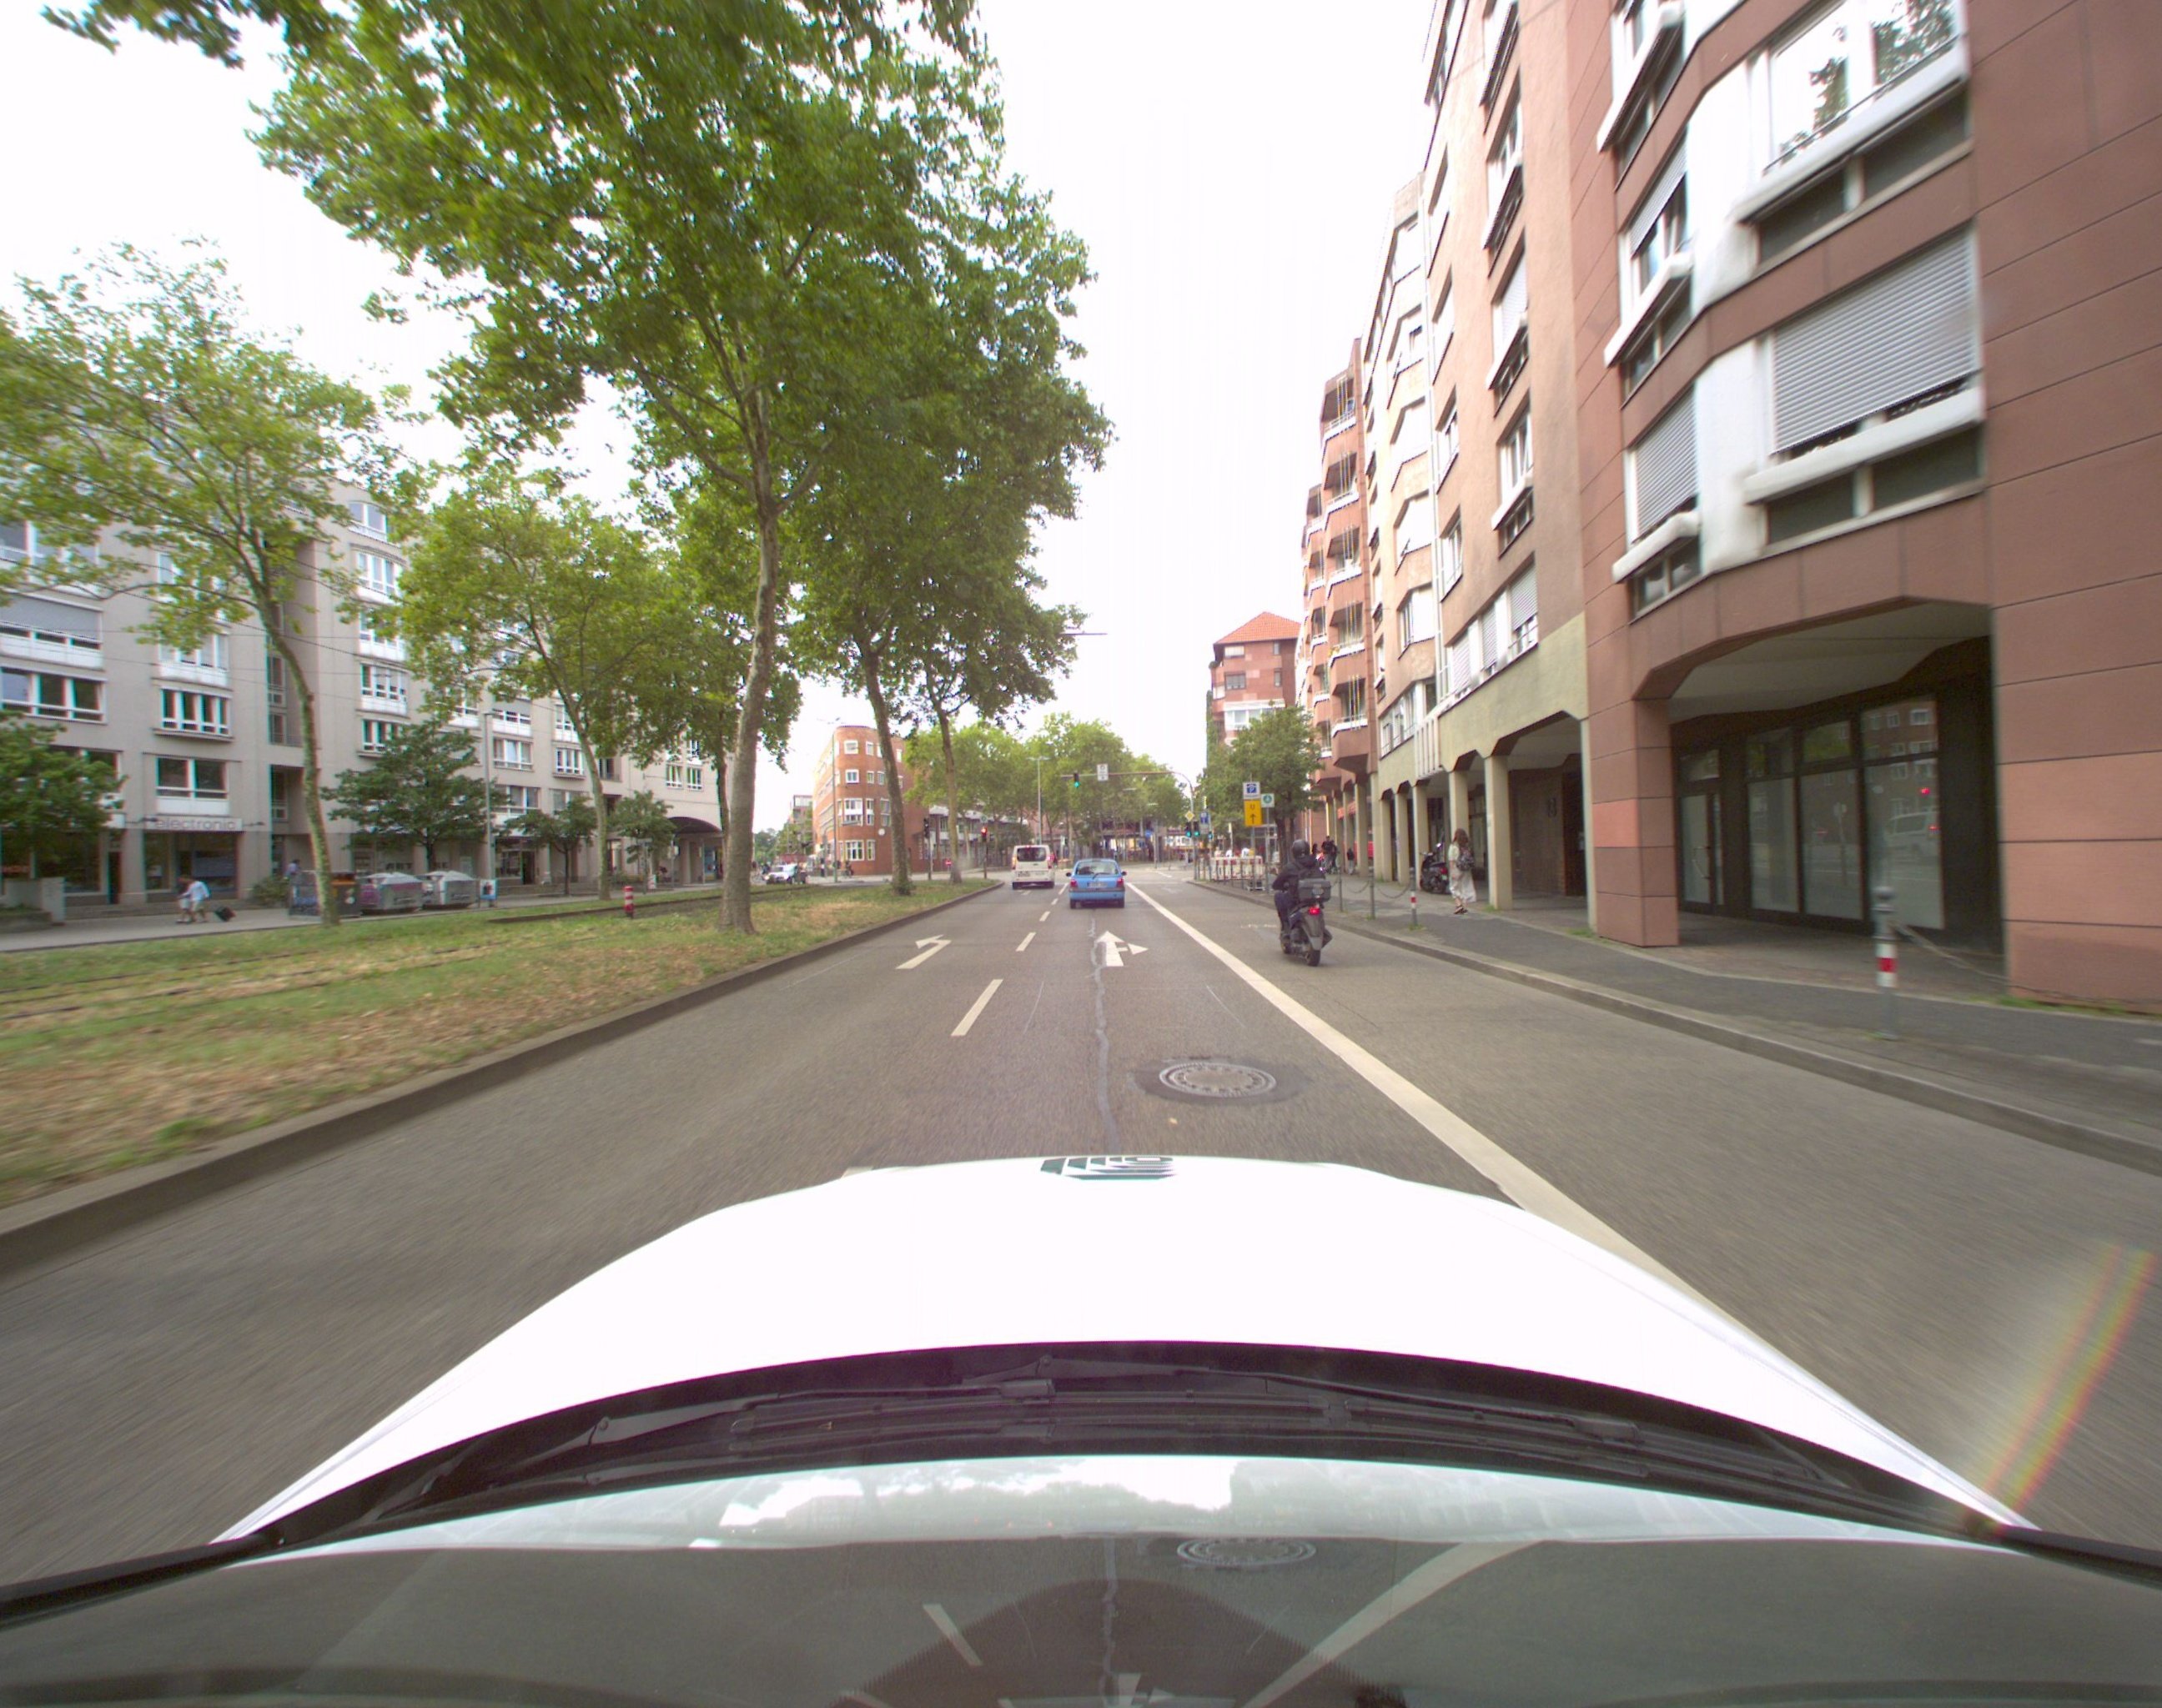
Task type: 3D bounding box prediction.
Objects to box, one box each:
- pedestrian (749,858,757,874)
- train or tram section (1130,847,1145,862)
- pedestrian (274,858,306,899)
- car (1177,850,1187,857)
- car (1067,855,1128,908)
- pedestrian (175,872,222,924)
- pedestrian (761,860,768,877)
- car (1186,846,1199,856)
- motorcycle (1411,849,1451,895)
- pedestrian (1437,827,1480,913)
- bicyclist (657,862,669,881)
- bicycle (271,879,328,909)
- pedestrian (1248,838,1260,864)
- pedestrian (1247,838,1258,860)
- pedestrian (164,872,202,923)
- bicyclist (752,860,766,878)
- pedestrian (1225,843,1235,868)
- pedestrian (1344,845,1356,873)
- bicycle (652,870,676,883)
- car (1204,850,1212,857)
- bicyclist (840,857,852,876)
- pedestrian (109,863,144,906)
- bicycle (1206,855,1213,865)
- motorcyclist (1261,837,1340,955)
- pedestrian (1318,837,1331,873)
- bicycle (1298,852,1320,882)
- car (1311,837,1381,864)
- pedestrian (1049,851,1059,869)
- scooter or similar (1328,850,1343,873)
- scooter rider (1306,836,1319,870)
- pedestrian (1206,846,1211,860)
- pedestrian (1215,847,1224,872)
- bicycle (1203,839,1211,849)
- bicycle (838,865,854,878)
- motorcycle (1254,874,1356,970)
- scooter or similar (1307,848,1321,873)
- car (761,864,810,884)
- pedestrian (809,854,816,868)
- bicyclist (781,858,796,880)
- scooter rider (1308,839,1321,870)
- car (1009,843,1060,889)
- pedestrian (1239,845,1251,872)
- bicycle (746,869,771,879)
[{"bbox_3d":[-35.187,1.275,87.463,0.677,1.679,0.746,-2,0,-27],"label":"pedestrian"},{"bbox_3d":[13.121,0.134,188.836,2.374,3.254,8.845,-2,0,11],"label":"train or tram section"},{"bbox_3d":[-35.873,1.113,36.937,0.765,1.809,0.694,-2,0,10],"label":"pedestrian"},{"bbox_3d":[23.702,-0.124,190.646,1.873,1.624,4.014,-2,0,13],"label":"car"},{"bbox_3d":[0.486,0.760,24.291,1.635,1.386,3.844,-1,0,1],"label":"car"},{"bbox_3d":[-30.187,1.505,27.867,0.550,1.705,0.885,-2,0,5],"label":"pedestrian"},{"bbox_3d":[-38.431,1.763,98.868,0.793,1.963,0.799,-2,0,-24],"label":"pedestrian"},{"bbox_3d":[18.395,-0.545,133.891,1.687,1.601,4.014,-2,0,13],"label":"car"},{"bbox_3d":[9.815,0.482,22.903,0.612,1.156,1.910,-3,0,12],"label":"motorcycle"},{"bbox_3d":[7.485,0.312,16.190,0.540,1.650,0.827,-2,0,10],"label":"pedestrian"},{"bbox_3d":[-37.695,1.583,73.442,0.788,1.672,0.567,-2,0,-36],"label":"bicyclist"},{"bbox_3d":[-34.210,1.737,35.680,0.530,1.212,1.843,-2,0,8],"label":"bicycle"},{"bbox_3d":[11.651,-0.194,54.905,0.648,1.701,1.024,-2,0,8],"label":"pedestrian"},{"bbox_3d":[12.662,-0.363,60.095,0.672,1.538,0.949,-2,0,8],"label":"pedestrian"},{"bbox_3d":[-30.774,1.490,27.903,0.550,1.705,0.627,-2,0,5],"label":"pedestrian"},{"bbox_3d":[-29.144,1.343,73.678,1.039,1.562,0.576,-2,-1,-36],"label":"bicyclist"},{"bbox_3d":[9.919,0.086,54.230,0.514,1.616,0.852,-2,0,7],"label":"pedestrian"},{"bbox_3d":[13.088,0.254,39.665,0.483,1.324,0.487,-2,0,15],"label":"pedestrian"},{"bbox_3d":[-37.614,2.035,73.484,1.885,1.092,0.571,-2,0,-36],"label":"bicycle"},{"bbox_3d":[29.597,-0.123,189.587,1.687,1.601,4.014,-2,0,13],"label":"car"},{"bbox_3d":[-23.175,1.227,80.331,0.663,1.848,1.083,-3,0,5],"label":"bicyclist"},{"bbox_3d":[-38.614,1.227,32.951,0.633,1.672,0.661,-2,0,9],"label":"pedestrian"},{"bbox_3d":[13.134,0.577,83.288,0.614,1.008,1.738,-2,0,6],"label":"bicycle"},{"bbox_3d":[2.998,0.554,11.203,0.757,1.519,1.017,-2,-1,0],"label":"motorcyclist"},{"bbox_3d":[12.445,0.038,41.613,0.548,1.799,0.659,-2,0,12],"label":"pedestrian"},{"bbox_3d":[9.052,0.506,32.391,0.609,1.118,1.808,-2,0,8],"label":"bicycle"},{"bbox_3d":[19.869,-0.236,61.159,4.793,1.826,2.007,-2,-2,12],"label":"car"},{"bbox_3d":[-2.544,0.562,76.635,0.547,1.718,0.896,-2,0,27],"label":"pedestrian"},{"bbox_3d":[13.096,0.365,41.945,0.550,1.170,1.410,-2,0,10],"label":"scooter or similar"},{"bbox_3d":[11.927,-0.053,41.967,0.460,1.720,0.554,-2,0,5],"label":"scooter rider"},{"bbox_3d":[17.801,-0.112,113.697,0.642,1.859,0.785,-2,0,10],"label":"pedestrian"},{"bbox_3d":[9.219,0.347,54.336,0.514,1.616,0.852,-2,0,6],"label":"pedestrian"},{"bbox_3d":[12.797,-0.995,82.727,0.614,1.008,1.738,-2,0,6],"label":"bicycle"},{"bbox_3d":[-23.152,1.718,80.308,0.674,1.093,2.212,-3,0,5],"label":"bicycle"},{"bbox_3d":[3.018,0.873,11.229,0.765,1.107,2.208,-2,0,0],"label":"motorcycle"},{"bbox_3d":[11.907,0.328,41.603,0.471,1.206,1.333,-2,0,7],"label":"scooter or similar"},{"bbox_3d":[-20.608,1.374,56.997,1.724,1.245,4.534,-2,0,0],"label":"car"},{"bbox_3d":[-35.626,0.955,108.057,0.696,1.817,0.650,-2,0,-26],"label":"pedestrian"},{"bbox_3d":[-23.231,1.178,64.630,0.686,1.672,0.955,-2,0,8],"label":"bicyclist"},{"bbox_3d":[11.865,0.020,41.390,0.458,1.557,0.566,-2,0,5],"label":"scooter rider"},{"bbox_3d":[-2.087,0.488,37.869,1.925,1.925,4.956,-2,0,1],"label":"car"},{"bbox_3d":[11.062,0.292,54.864,0.672,1.828,0.852,-2,0,7],"label":"pedestrian"},{"bbox_3d":[-29.171,1.786,73.658,1.997,0.836,0.572,-2,0,-36],"label":"bicycle"}]
